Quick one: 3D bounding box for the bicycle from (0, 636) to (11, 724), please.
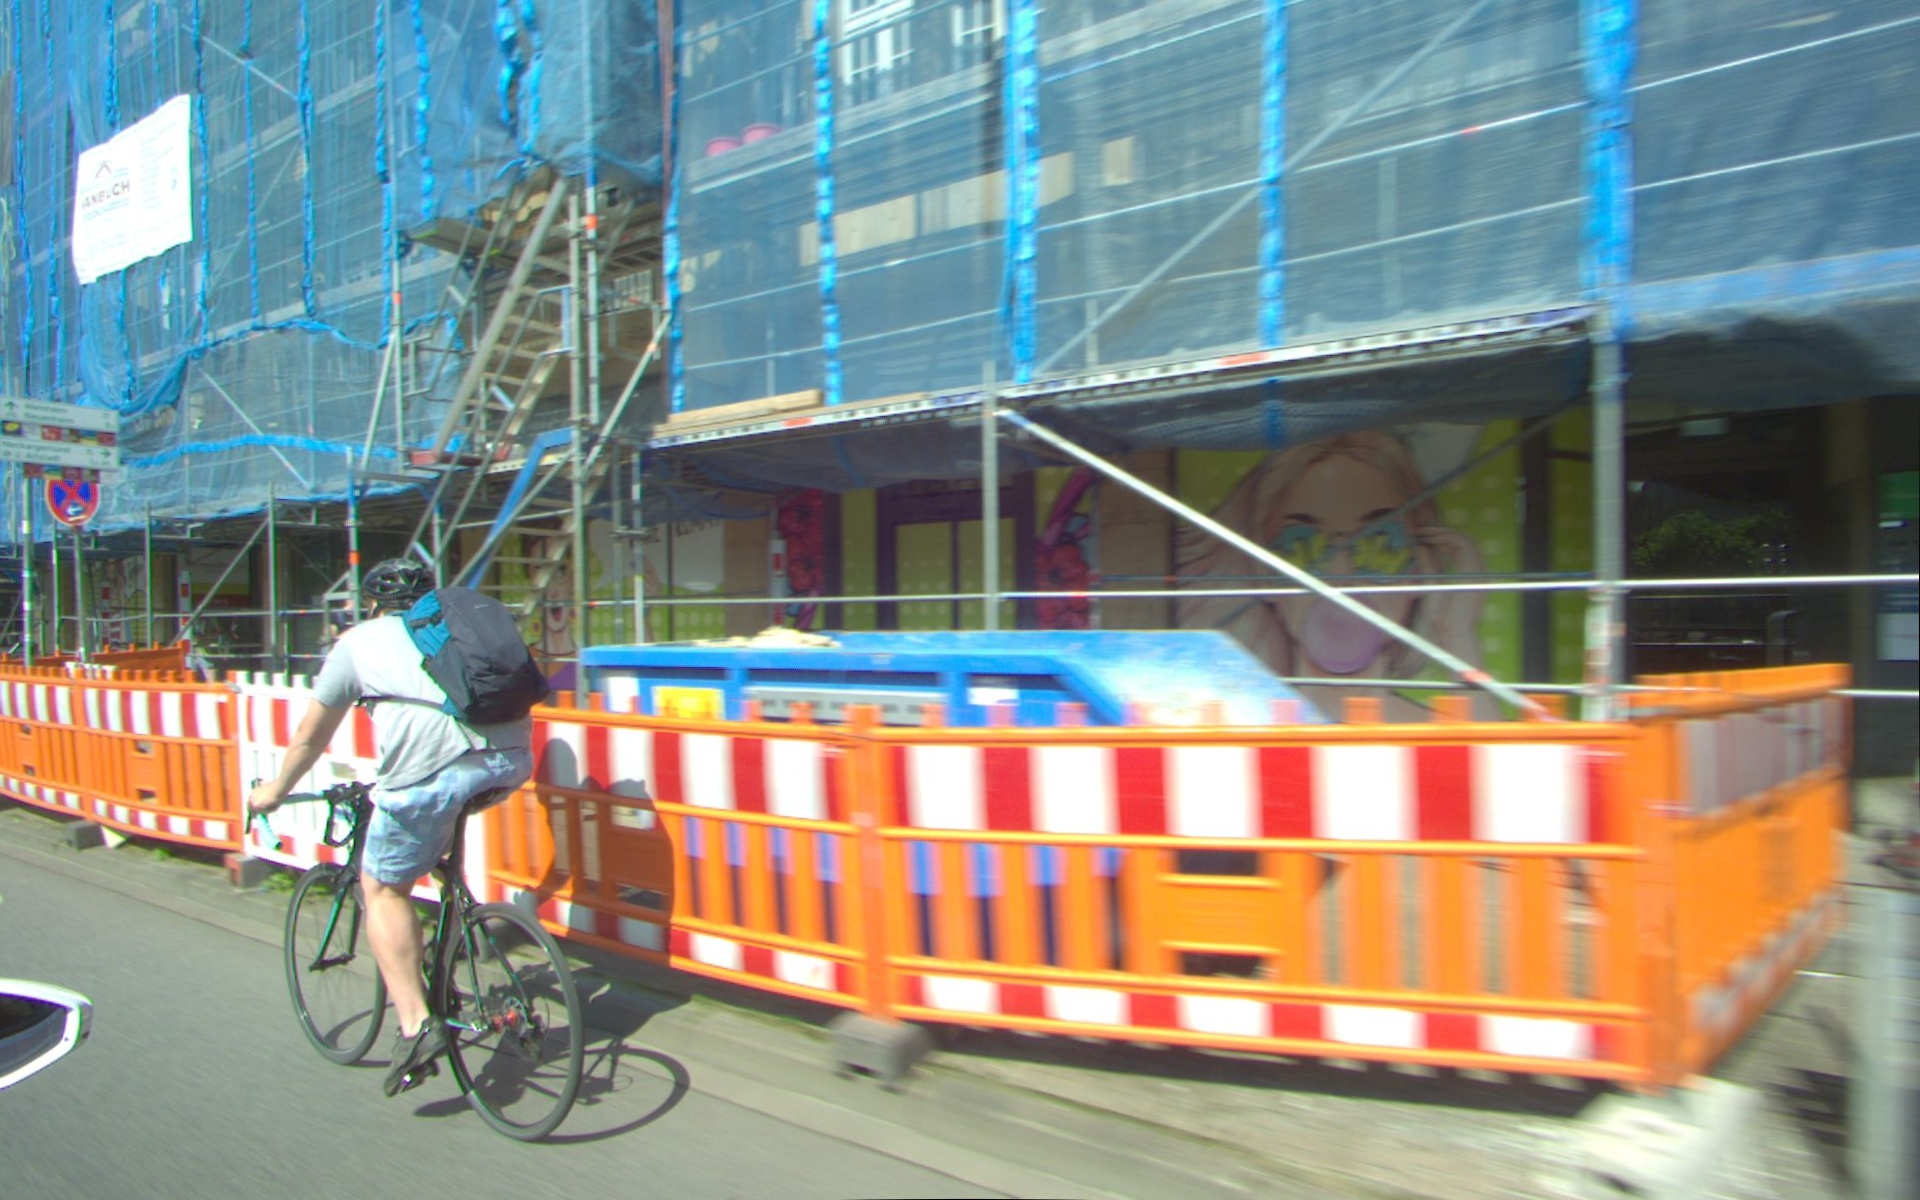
[{"bbox_3d":[-13.755,1.084,13.226,0.600,1.194,1.690,0,-1,32],"label":"bicycle"}]

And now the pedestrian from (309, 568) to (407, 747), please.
[{"bbox_3d":[-6.332,0.594,10.541,0.640,1.799,0.638,0,-1,32],"label":"pedestrian"}]

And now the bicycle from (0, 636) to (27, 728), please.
[{"bbox_3d":[-13.156,1.071,12.810,0.600,1.194,1.690,0,-1,32],"label":"bicycle"}]

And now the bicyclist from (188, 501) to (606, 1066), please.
[{"bbox_3d":[-1.804,0.497,3.218,1.126,1.481,0.687,0,-1,30],"label":"bicyclist"}]

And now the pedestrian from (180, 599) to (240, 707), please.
[{"bbox_3d":[-11.668,0.811,15.591,0.636,1.622,0.761,1,-1,-30],"label":"pedestrian"}]

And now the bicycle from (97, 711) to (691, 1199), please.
[{"bbox_3d":[-1.909,0.986,3.266,2.099,1.107,0.733,-1,-2,31],"label":"bicycle"}]
